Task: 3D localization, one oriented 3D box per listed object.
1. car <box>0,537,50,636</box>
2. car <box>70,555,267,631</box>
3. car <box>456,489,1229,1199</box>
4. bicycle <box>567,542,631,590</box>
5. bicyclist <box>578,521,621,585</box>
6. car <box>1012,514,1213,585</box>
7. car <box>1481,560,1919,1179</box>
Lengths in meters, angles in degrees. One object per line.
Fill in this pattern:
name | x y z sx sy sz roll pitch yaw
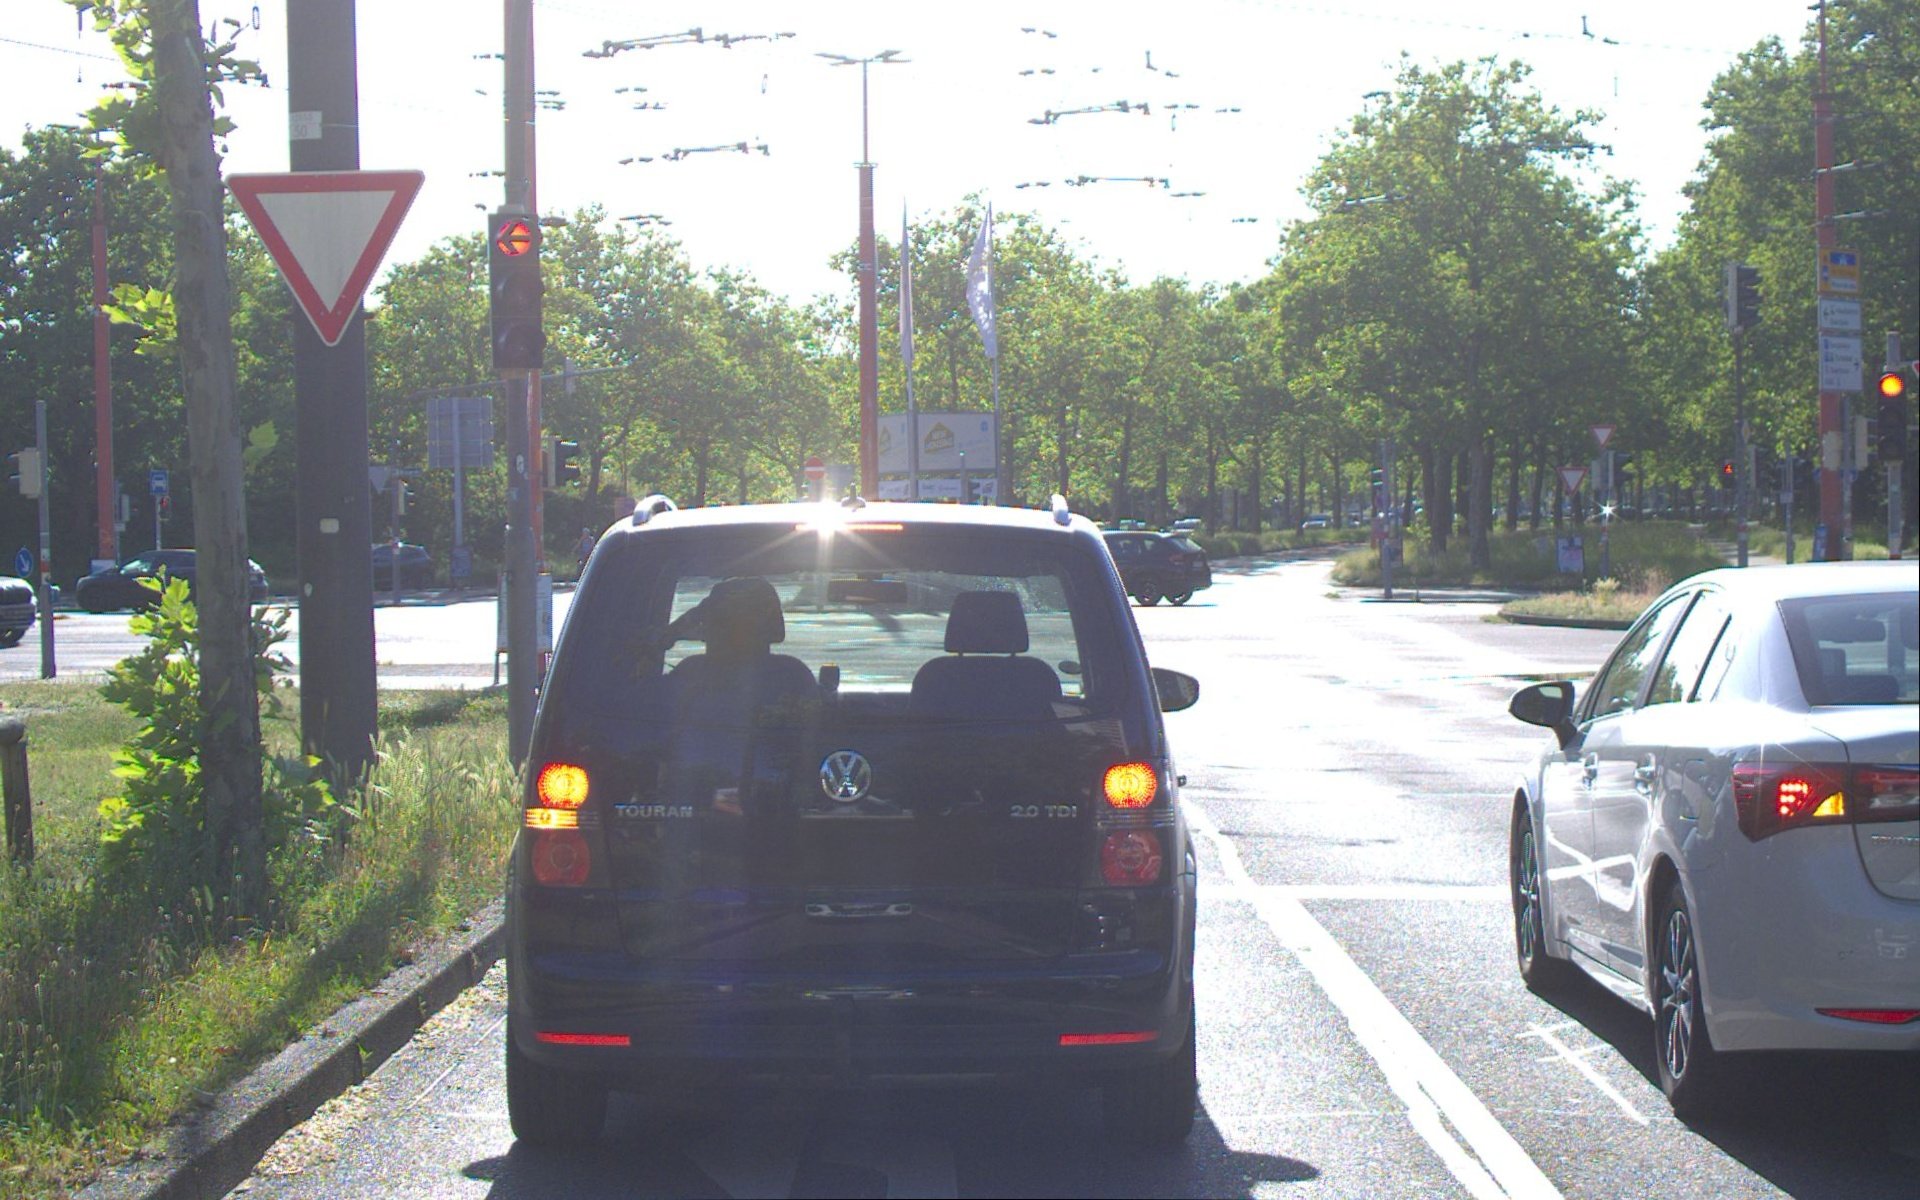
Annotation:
car | -17.800 -0.254 58.506 4.636 1.641 1.654 1 1 30
car | -17.942 -0.178 77.909 4.209 1.675 1.654 1 1 25
car | -0.250 0.536 9.982 1.738 1.597 4.326 1 1 1
bicycle | -10.679 -1.009 101.819 0.977 1.384 2.978 0 1 12
bicyclist | -10.673 -1.389 101.853 0.977 1.897 1.050 0 1 12
car | 3.202 -1.078 72.448 3.921 1.452 1.654 1 1 32
car | 2.760 0.616 10.161 1.799 1.435 4.326 1 1 1
